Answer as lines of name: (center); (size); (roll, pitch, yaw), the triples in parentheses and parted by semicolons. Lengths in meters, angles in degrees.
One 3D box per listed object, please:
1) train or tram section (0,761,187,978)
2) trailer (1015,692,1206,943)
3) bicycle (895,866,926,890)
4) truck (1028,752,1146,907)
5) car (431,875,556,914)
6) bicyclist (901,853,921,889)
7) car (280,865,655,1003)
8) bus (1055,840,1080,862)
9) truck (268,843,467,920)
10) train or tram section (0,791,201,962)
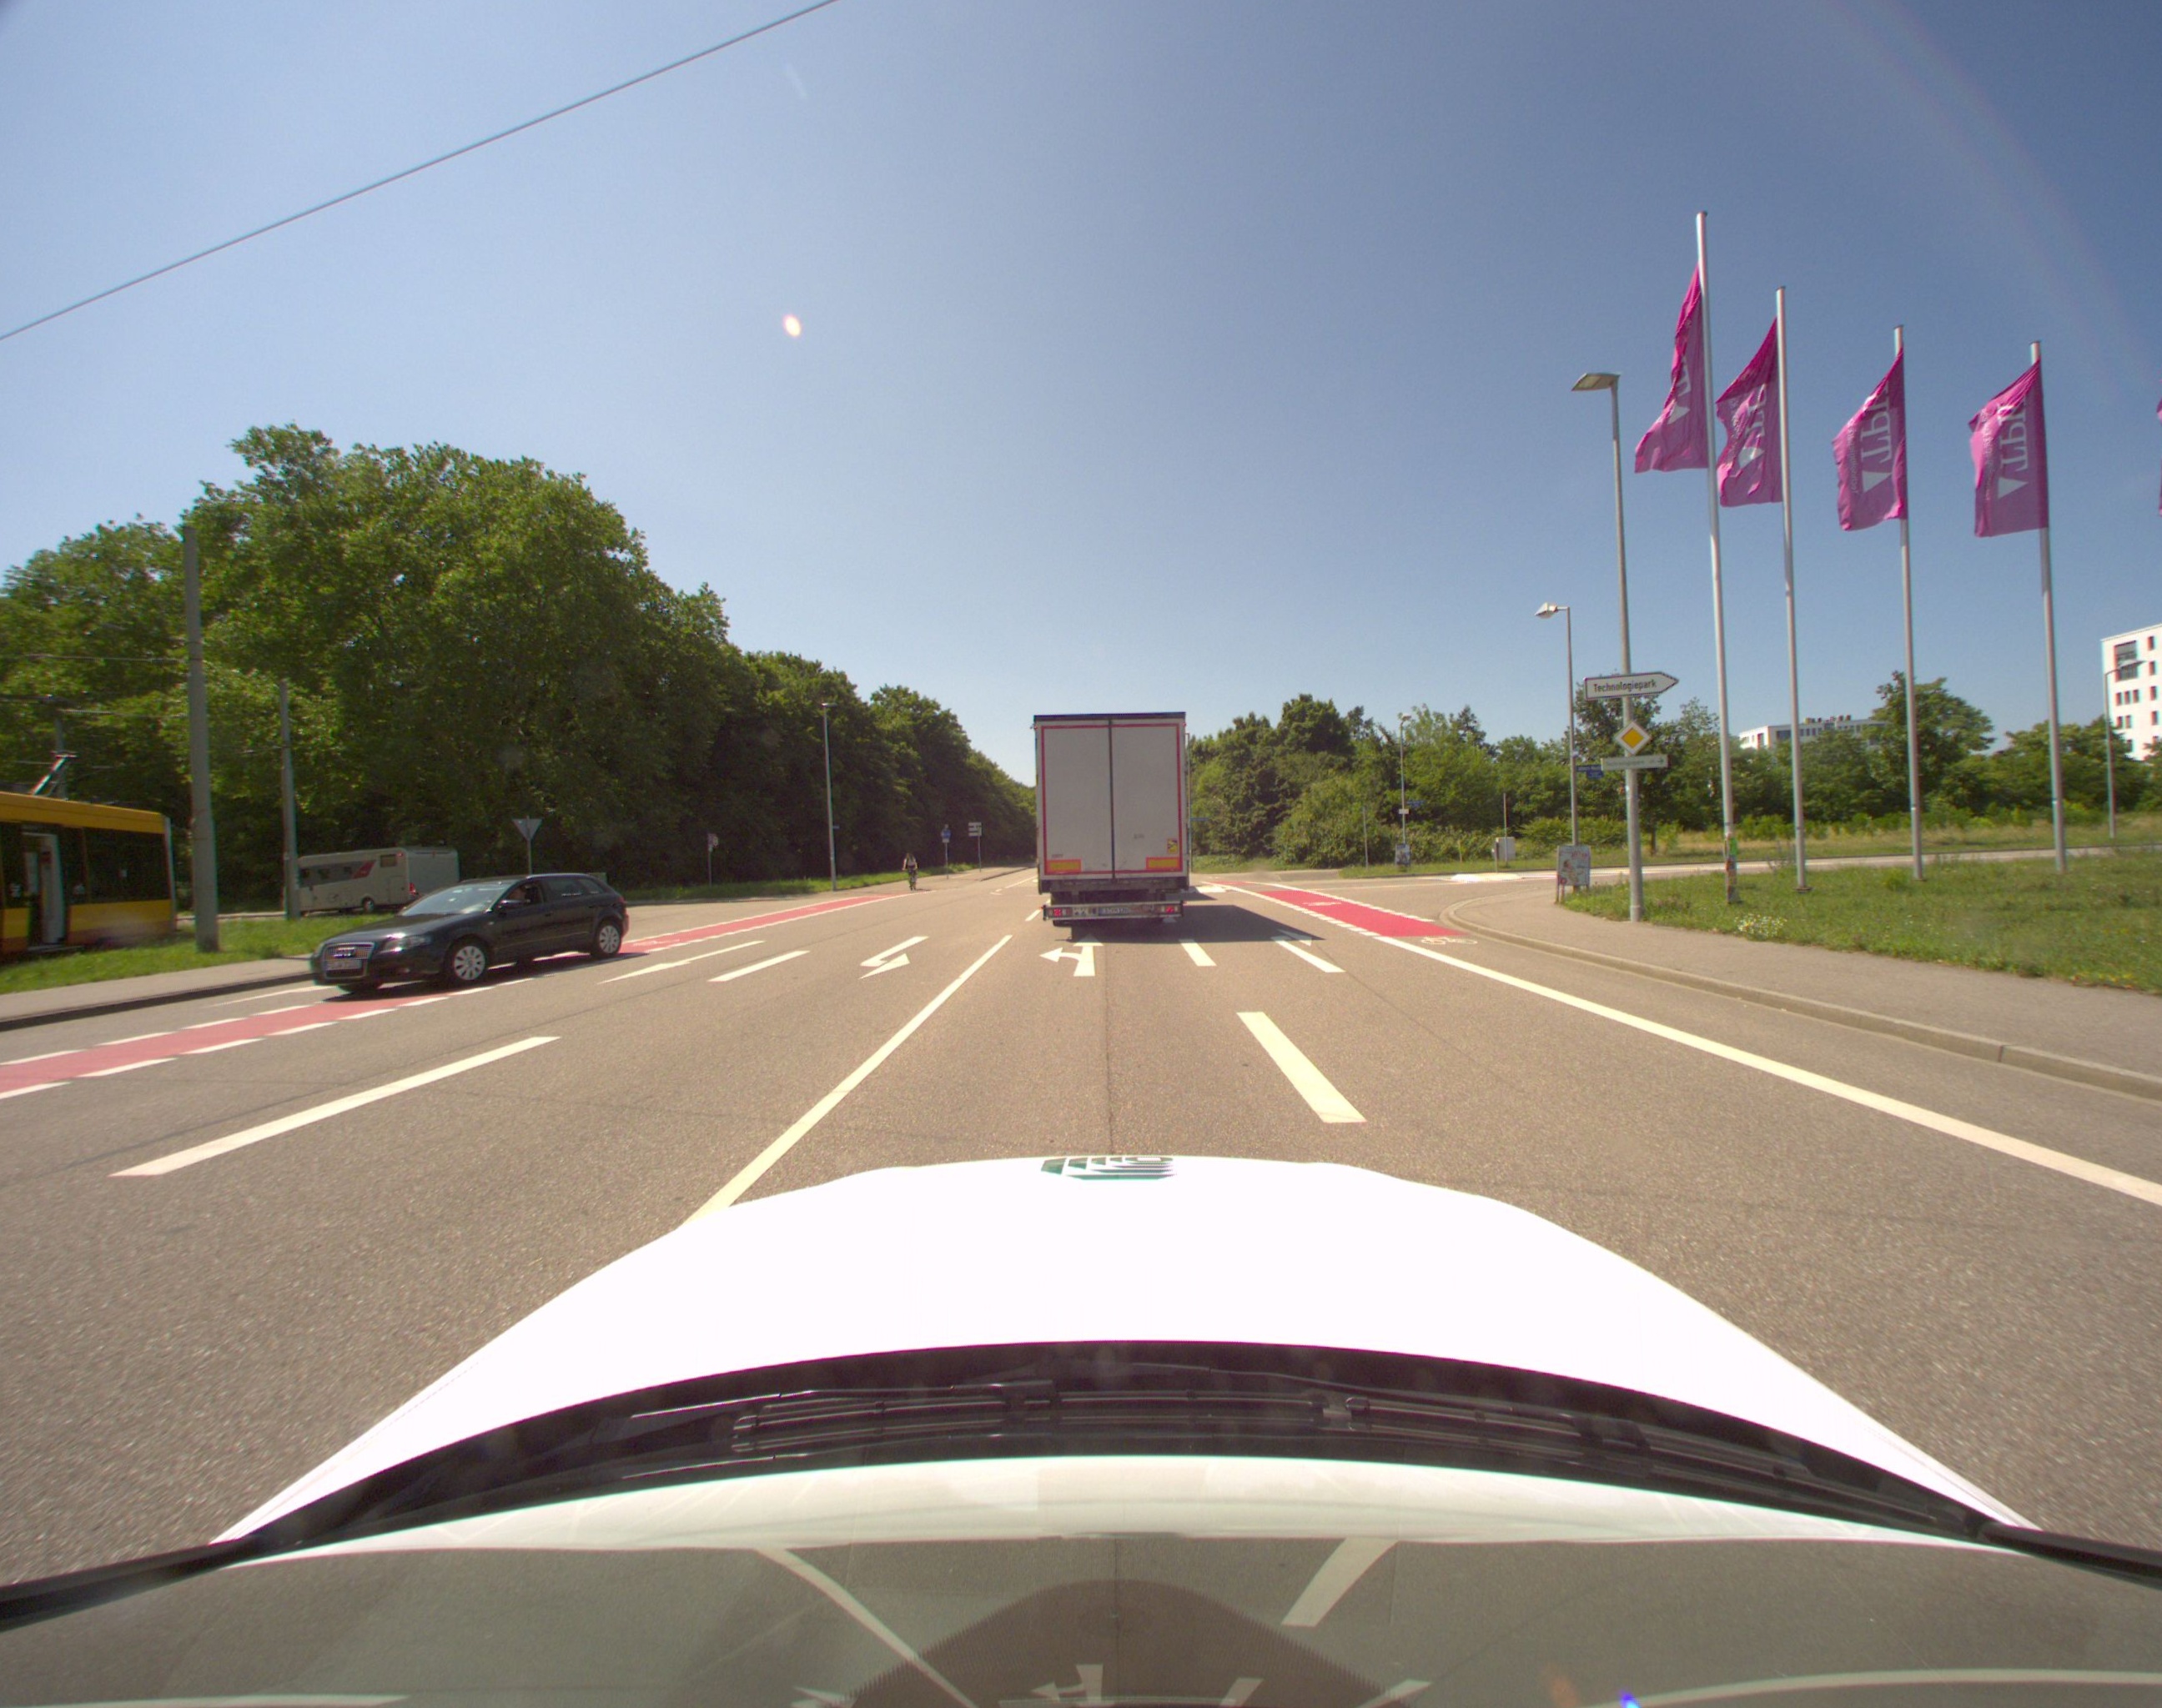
train or tram section: (-20.644, 0.368, 14.396); (3.036, 3.758, 11.503); (-4, 1, -30)
trailer: (0.312, -0.640, 18.297); (3.069, 4.069, 9.800); (-1, 0, -2)
bicycle: (-8.234, 1.138, 39.410); (0.664, 1.055, 2.052); (-1, 1, 12)
truck: (0.000, -0.687, 25.788); (3.070, 4.069, 7.951); (-1, 0, -3)
car: (-24.530, 1.674, 34.067); (4.272, 1.417, 1.671); (-3, -1, 10)
bicyclist: (-8.238, 0.799, 39.406); (0.660, 1.706, 0.772); (-1, 0, 12)
car: (-8.675, 1.020, 12.155); (1.734, 1.405, 4.451); (-4, 1, 8)
bus: (-1.996, -0.551, 126.931); (2.737, 3.045, 11.953); (-3, 1, 4)
truck: (-31.205, 1.193, 35.702); (7.270, 2.910, 2.576); (-3, -1, 11)
train or tram section: (-28.800, 0.754, 22.991); (13.865, 3.758, 3.046); (-3, 1, 34)
